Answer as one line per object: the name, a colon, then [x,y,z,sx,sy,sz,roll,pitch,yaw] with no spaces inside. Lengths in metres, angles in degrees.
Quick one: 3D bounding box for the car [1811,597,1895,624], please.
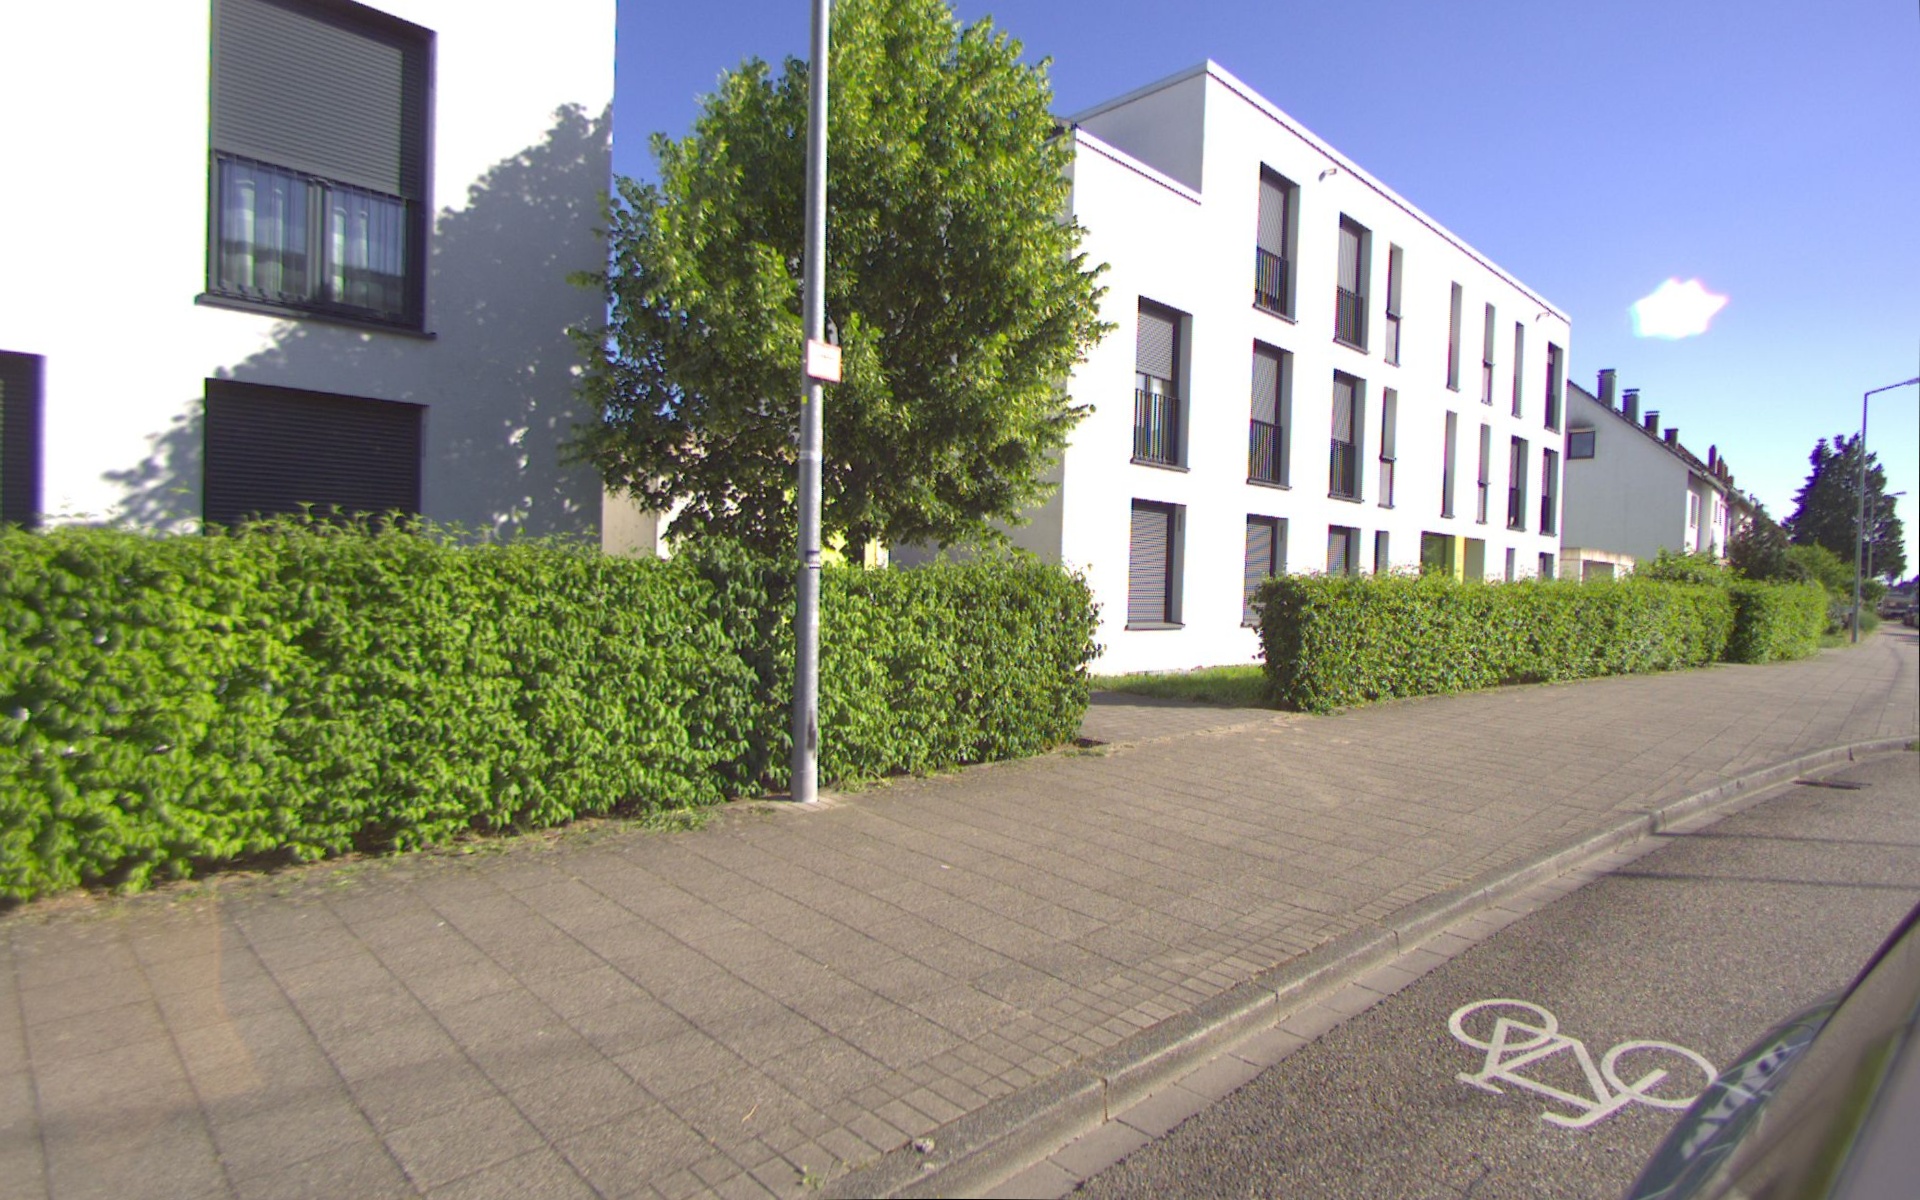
car: [59.765,0.693,67.744,1.965,1.705,3.994,1,0,-41]
